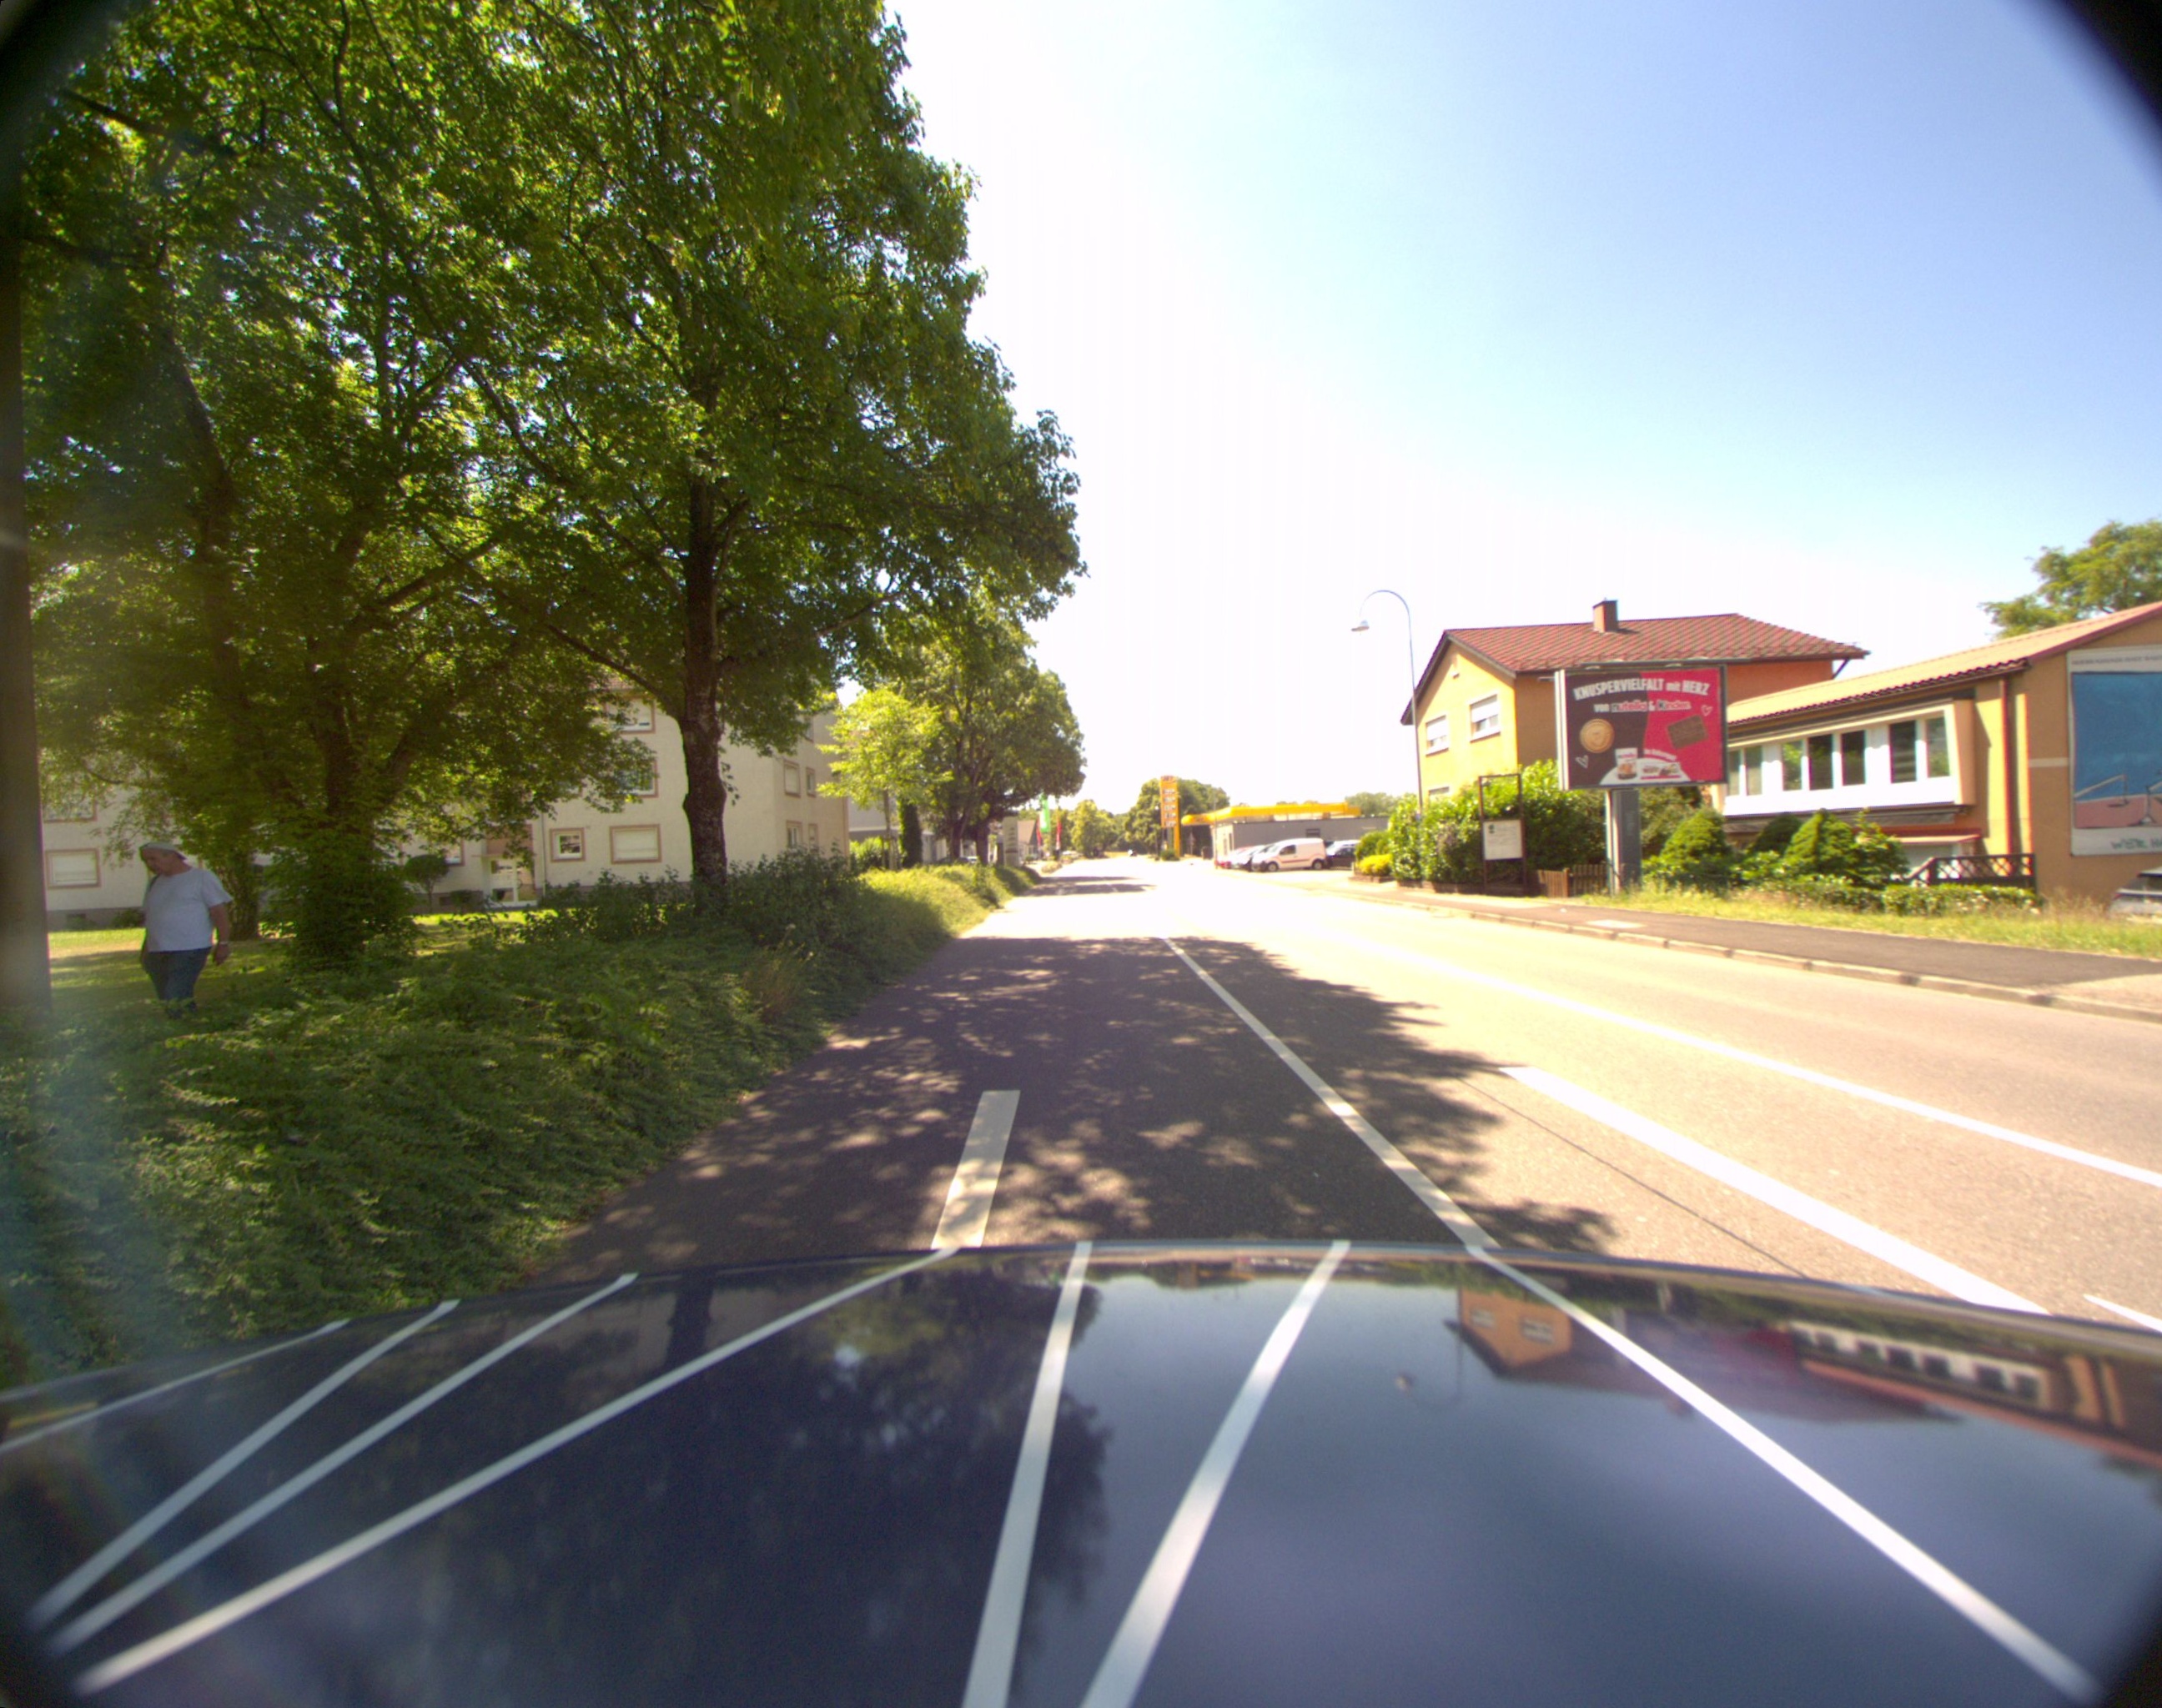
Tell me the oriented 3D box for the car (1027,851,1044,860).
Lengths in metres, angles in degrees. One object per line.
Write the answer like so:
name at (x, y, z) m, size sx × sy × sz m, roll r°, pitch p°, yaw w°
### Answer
car at (-8.085, 0.342, 133.842) m, size 1.774 × 1.521 × 4.122 m, roll -2°, pitch 1°, yaw -21°

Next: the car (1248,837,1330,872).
car at (12.130, 0.009, 44.450) m, size 4.191 × 1.858 × 1.874 m, roll -2°, pitch 1°, yaw -5°

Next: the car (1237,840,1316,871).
car at (11.918, 0.059, 46.506) m, size 4.246 × 1.750 × 1.874 m, roll -2°, pitch 1°, yaw -5°

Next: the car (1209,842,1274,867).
car at (12.228, 0.034, 58.028) m, size 4.402 × 1.750 × 1.874 m, roll -2°, pitch 1°, yaw -5°

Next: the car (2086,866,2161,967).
car at (19.855, 0.998, 12.366) m, size 4.224 × 1.599 × 1.772 m, roll -1°, pitch 1°, yaw 7°

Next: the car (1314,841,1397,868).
car at (16.740, 0.019, 46.448) m, size 4.402 × 1.554 × 1.874 m, roll -2°, pitch 1°, yaw -5°

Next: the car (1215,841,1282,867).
car at (12.235, 0.004, 55.559) m, size 4.402 × 1.750 × 1.874 m, roll -2°, pitch 1°, yaw -5°

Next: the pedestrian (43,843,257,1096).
pedestrian at (-7.478, 0.858, 6.169) m, size 0.675 × 1.863 × 0.901 m, roll -2°, pitch 1°, yaw -21°

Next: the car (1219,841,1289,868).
car at (12.101, 0.020, 53.327) m, size 4.402 × 1.750 × 1.874 m, roll -2°, pitch 1°, yaw -5°

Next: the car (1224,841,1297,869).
car at (12.050, 0.071, 51.065) m, size 4.402 × 1.750 × 1.874 m, roll -2°, pitch 1°, yaw -5°

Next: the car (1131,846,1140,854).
car at (12.201, -0.904, 170.134) m, size 1.809 × 1.552 × 4.064 m, roll -2°, pitch 1°, yaw 4°

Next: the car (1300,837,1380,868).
car at (16.570, -0.114, 48.726) m, size 4.402 × 1.815 × 1.874 m, roll -2°, pitch 0°, yaw -5°
